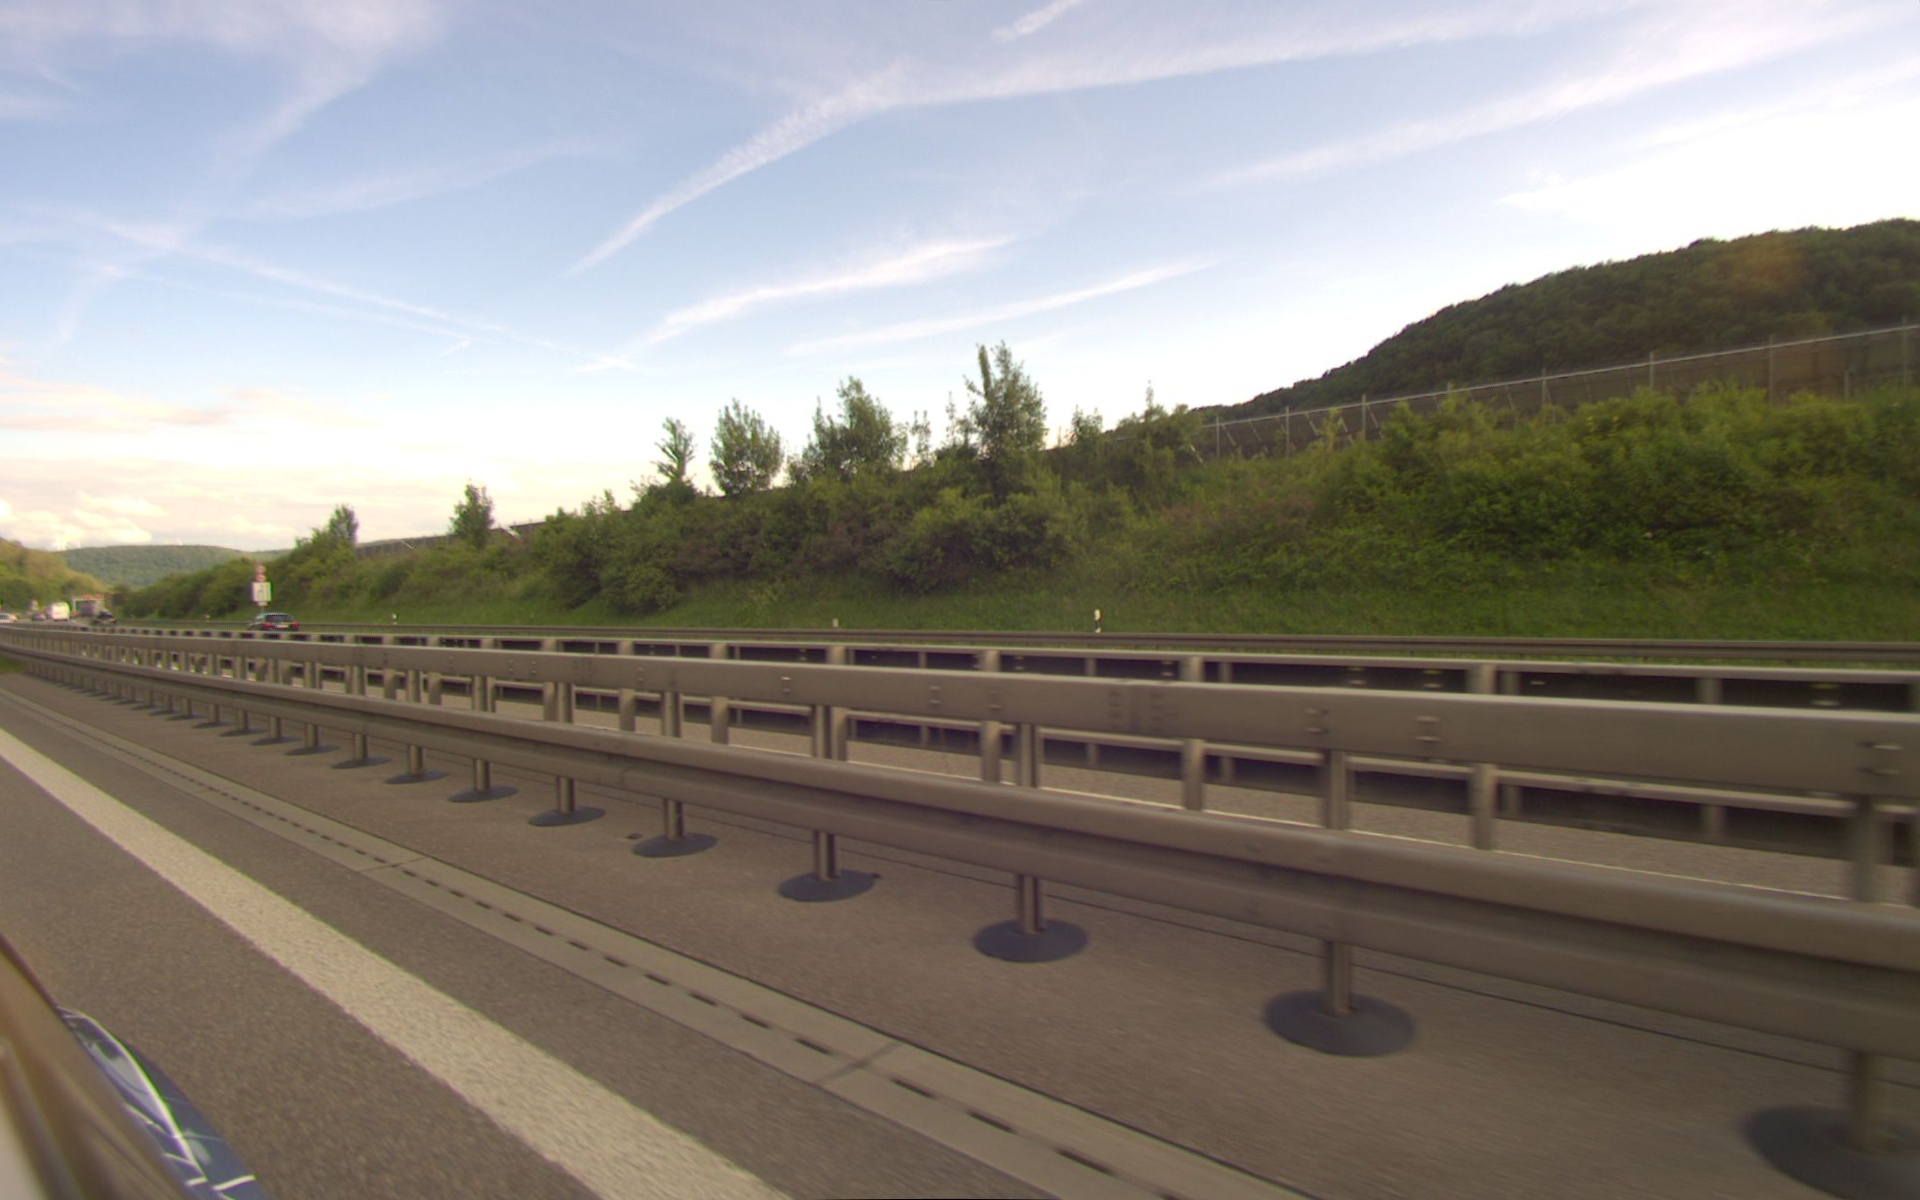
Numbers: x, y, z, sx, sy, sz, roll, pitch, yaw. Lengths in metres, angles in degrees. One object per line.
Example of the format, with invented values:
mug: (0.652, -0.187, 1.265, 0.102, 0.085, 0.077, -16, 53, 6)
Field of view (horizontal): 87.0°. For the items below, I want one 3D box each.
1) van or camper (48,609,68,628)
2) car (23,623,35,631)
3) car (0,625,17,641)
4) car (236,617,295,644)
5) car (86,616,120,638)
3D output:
van or camper: (-173.455, 3.532, 194.554, 2.453, 3.578, 7.982, 0, -1, -45)
car: (-182.011, 5.260, 197.839, 4.347, 1.669, 1.624, -1, -1, 45)
car: (-98.522, 3.408, 104.065, 5.019, 1.603, 1.813, -1, 0, 42)
car: (-37.809, 1.632, 55.065, 3.998, 1.426, 1.689, -1, -1, 41)
car: (-84.638, 2.632, 99.917, 5.019, 2.055, 1.941, -1, -1, 42)
